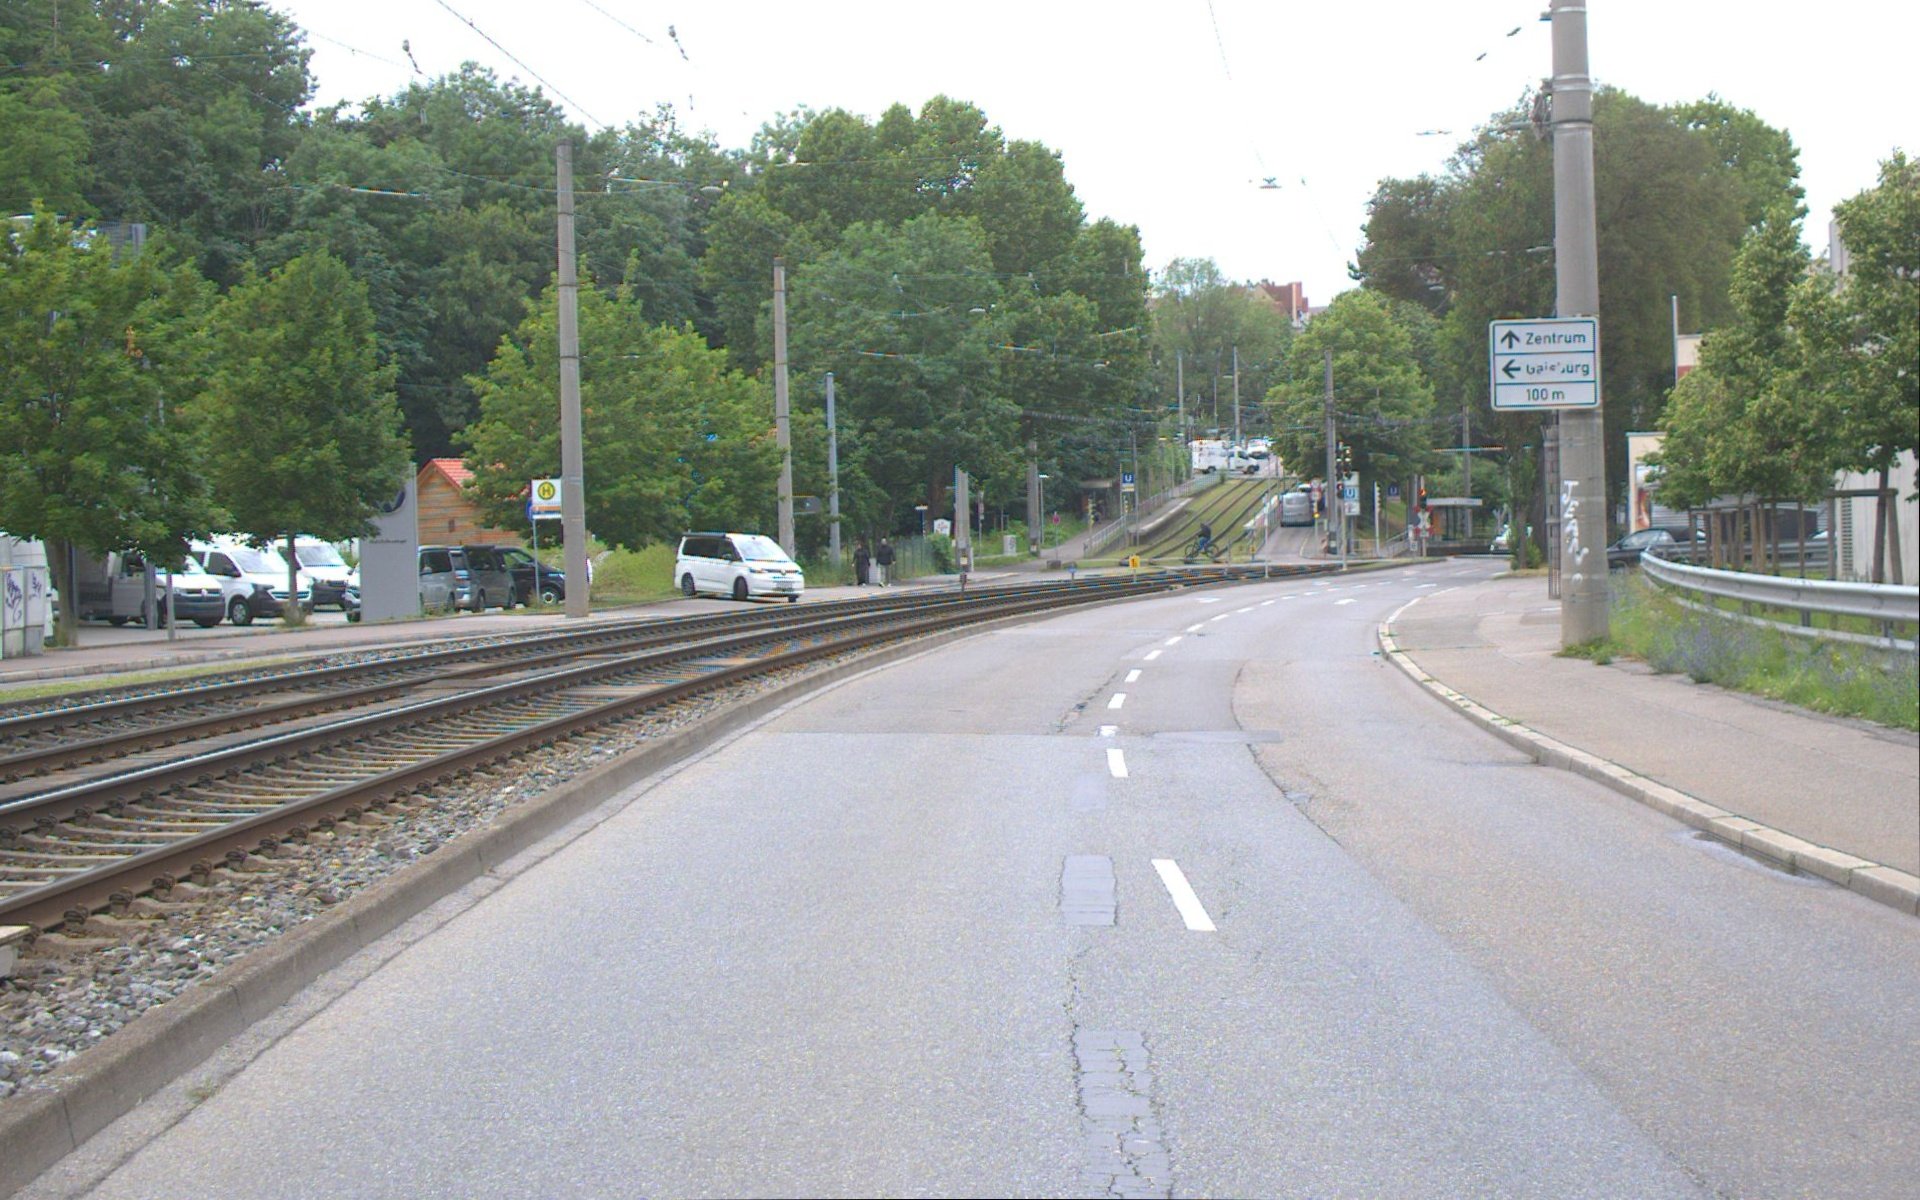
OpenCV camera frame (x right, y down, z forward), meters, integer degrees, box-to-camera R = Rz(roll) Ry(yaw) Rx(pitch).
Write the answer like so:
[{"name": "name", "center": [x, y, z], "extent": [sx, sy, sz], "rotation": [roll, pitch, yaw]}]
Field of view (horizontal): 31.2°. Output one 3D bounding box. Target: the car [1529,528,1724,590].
[{"name": "car", "center": [15.896, -0.991, 82.114], "extent": [4.229, 1.438, 1.759], "rotation": [1, 2, 38]}]

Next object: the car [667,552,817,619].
[{"name": "car", "center": [-6.559, -0.451, 102.900], "extent": [2.159, 1.881, 5.072], "rotation": [1, 1, -35]}]

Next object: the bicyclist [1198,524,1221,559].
[{"name": "bicyclist", "center": [13.218, -3.107, 181.935], "extent": [1.048, 1.843, 0.824], "rotation": [-1, 0, -8]}]

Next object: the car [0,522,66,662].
[{"name": "car", "center": [-20.031, -0.125, 65.192], "extent": [5.475, 2.593, 2.246], "rotation": [-1, 1, 9]}]

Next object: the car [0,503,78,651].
[{"name": "car", "center": [-20.424, -0.453, 70.486], "extent": [2.109, 3.009, 5.934], "rotation": [-1, 1, 11]}]

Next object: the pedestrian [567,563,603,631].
[{"name": "pedestrian", "center": [-9.291, -0.070, 85.249], "extent": [0.718, 1.650, 1.042], "rotation": [1, 1, 2]}]

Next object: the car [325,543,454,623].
[{"name": "car", "center": [-15.055, -0.470, 91.044], "extent": [1.994, 2.007, 4.918], "rotation": [-1, 1, 7]}]

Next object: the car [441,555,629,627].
[{"name": "car", "center": [-12.573, -0.284, 101.691], "extent": [5.055, 2.007, 2.167], "rotation": [-2, 1, -27]}]

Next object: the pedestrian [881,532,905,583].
[{"name": "pedestrian", "center": [-2.392, -1.526, 123.262], "extent": [0.677, 1.807, 0.855], "rotation": [1, 1, 12]}]

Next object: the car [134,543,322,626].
[{"name": "car", "center": [-18.532, -0.385, 86.940], "extent": [4.725, 2.007, 1.996], "rotation": [-1, 1, 37]}]

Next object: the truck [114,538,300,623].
[{"name": "truck", "center": [-23.961, -0.618, 109.307], "extent": [5.770, 2.579, 2.464], "rotation": [-1, 1, 34]}]

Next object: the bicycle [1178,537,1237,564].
[{"name": "bicycle", "center": [13.072, -2.621, 181.919], "extent": [2.986, 1.339, 0.827], "rotation": [-1, 1, -8]}]

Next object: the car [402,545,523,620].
[{"name": "car", "center": [-13.966, -0.517, 96.831], "extent": [1.994, 2.007, 5.128], "rotation": [-1, 1, 8]}]

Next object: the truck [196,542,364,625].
[{"name": "truck", "center": [-22.084, -0.535, 111.584], "extent": [5.065, 2.579, 2.464], "rotation": [-1, 1, 34]}]

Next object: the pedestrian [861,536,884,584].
[{"name": "pedestrian", "center": [-3.155, -1.426, 123.344], "extent": [0.628, 1.707, 0.855], "rotation": [1, 1, 12]}]

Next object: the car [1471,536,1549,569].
[{"name": "car", "center": [28.324, -2.439, 176.987], "extent": [4.245, 1.527, 1.691], "rotation": [0, -4, -45]}]

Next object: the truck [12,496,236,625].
[{"name": "truck", "center": [-20.681, -0.950, 84.903], "extent": [5.932, 3.074, 2.115], "rotation": [-1, 1, 39]}]

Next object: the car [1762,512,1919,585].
[{"name": "car", "center": [21.333, -1.217, 80.305], "extent": [4.505, 1.543, 2.161], "rotation": [-2, -1, -13]}]
